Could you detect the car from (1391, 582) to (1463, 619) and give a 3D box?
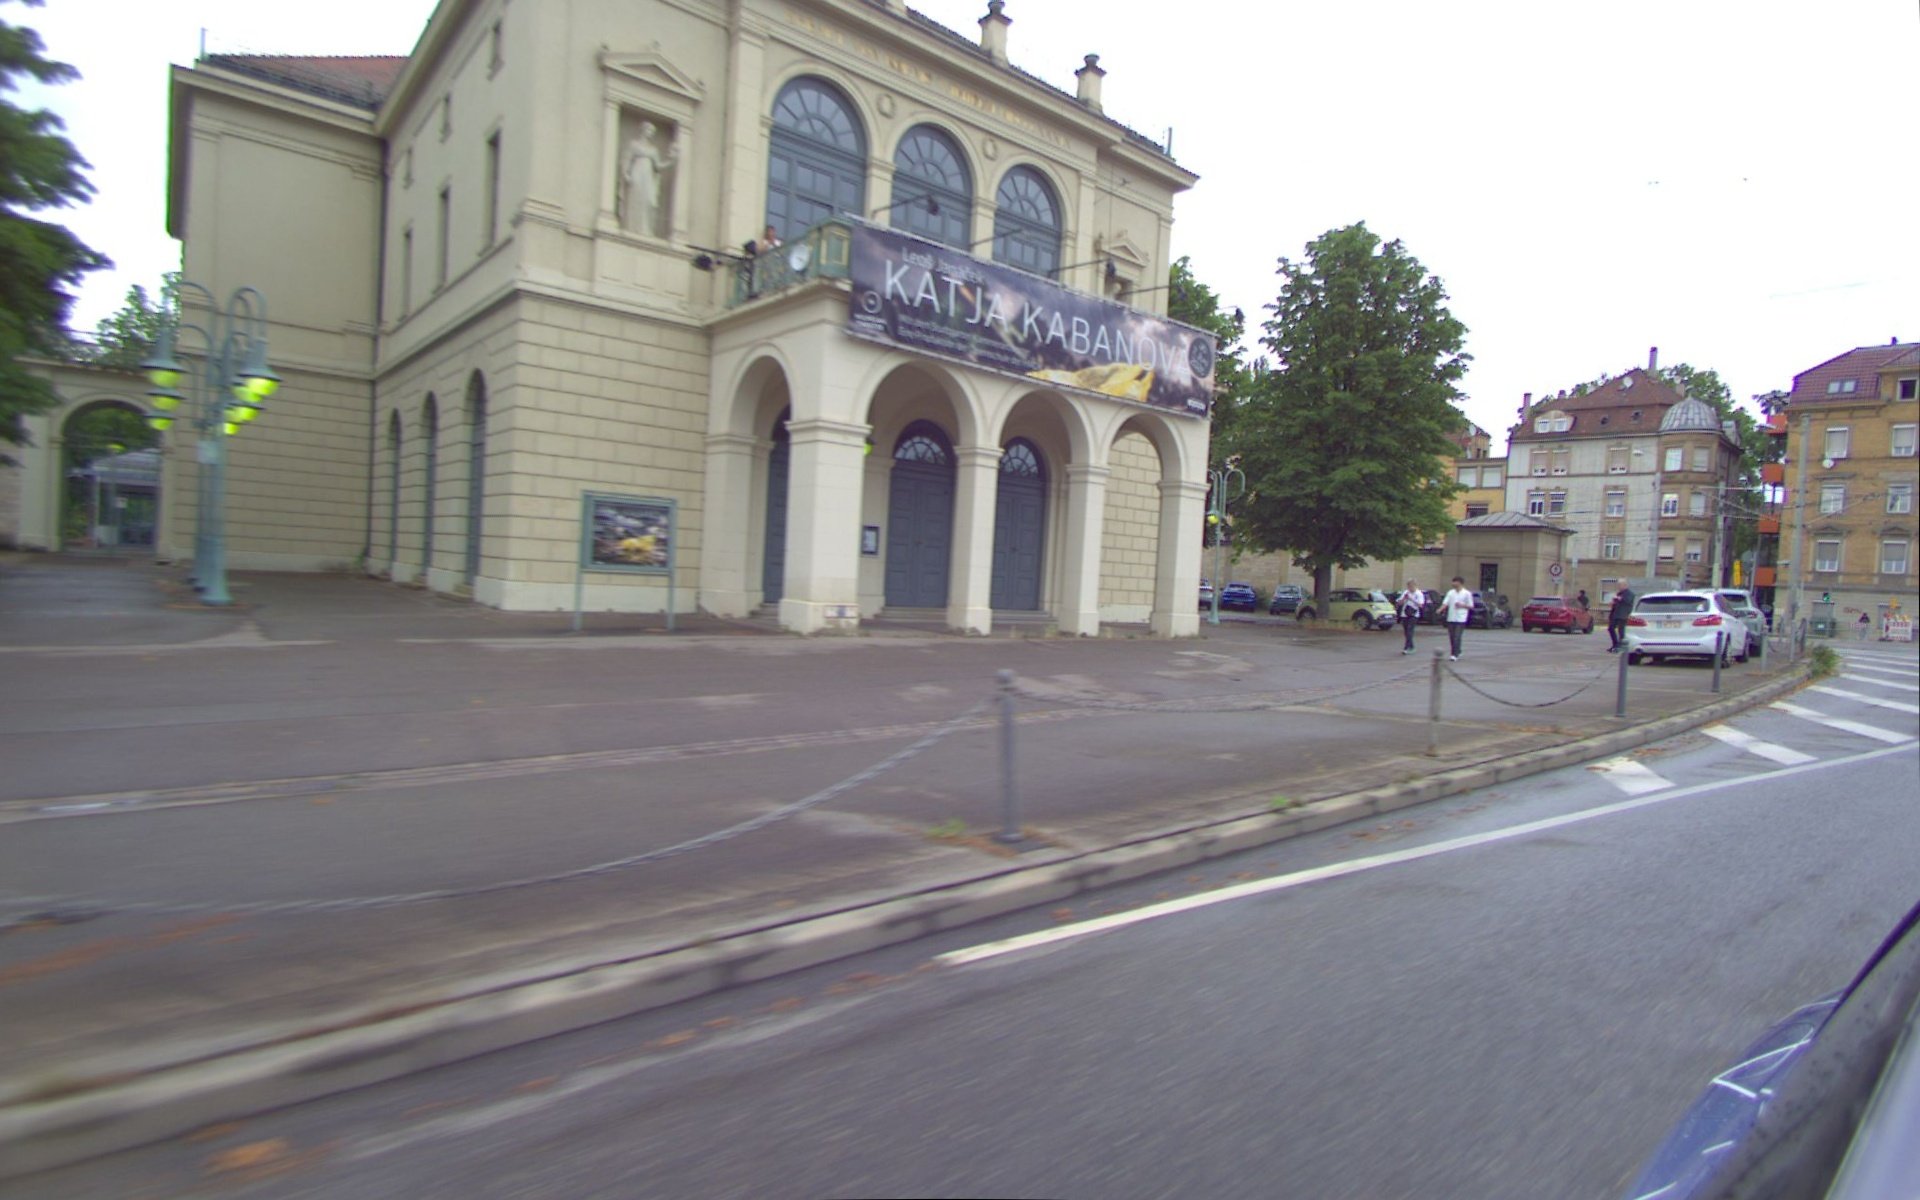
[{"bbox_3d":[21.001,0.017,45.458,1.678,1.515,3.937,5,3,44],"label":"car"}]

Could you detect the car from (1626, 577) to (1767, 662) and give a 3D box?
[{"bbox_3d":[15.981,0.386,21.881,4.075,1.660,1.840,0,0,-44],"label":"car"}]

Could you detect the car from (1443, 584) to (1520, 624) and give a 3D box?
[{"bbox_3d":[22.215,0.154,43.041,1.859,1.567,4.002,3,2,43],"label":"car"}]

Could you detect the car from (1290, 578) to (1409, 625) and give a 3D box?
[{"bbox_3d":[14.403,0.036,37.608,1.697,1.487,3.746,1,3,-37],"label":"car"}]

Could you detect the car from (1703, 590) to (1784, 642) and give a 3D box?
[{"bbox_3d":[23.909,0.454,30.839,1.836,1.482,4.083,0,0,40],"label":"car"}]

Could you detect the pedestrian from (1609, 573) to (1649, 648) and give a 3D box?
[{"bbox_3d":[16.770,0.252,25.364,0.695,1.829,0.770,2,1,41],"label":"pedestrian"}]

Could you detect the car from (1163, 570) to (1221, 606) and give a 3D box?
[{"bbox_3d":[11.697,-0.666,51.235,1.649,1.602,4.006,2,3,-5],"label":"car"}]

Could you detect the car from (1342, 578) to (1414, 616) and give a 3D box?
[{"bbox_3d":[19.677,-0.157,47.523,1.826,1.602,3.938,5,3,42],"label":"car"}]

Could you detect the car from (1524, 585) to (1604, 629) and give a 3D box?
[{"bbox_3d":[24.224,0.258,40.531,1.827,1.602,3.936,5,3,44],"label":"car"}]

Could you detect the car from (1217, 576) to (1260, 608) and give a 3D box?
[{"bbox_3d":[14.177,-0.443,51.705,1.677,1.412,3.990,3,3,10],"label":"car"}]

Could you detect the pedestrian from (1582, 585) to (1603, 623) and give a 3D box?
[{"bbox_3d":[29.696,0.189,47.489,0.697,1.763,0.453,1,2,-29],"label":"pedestrian"}]

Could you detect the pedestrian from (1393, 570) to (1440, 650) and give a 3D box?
[{"bbox_3d":[9.881,0.198,21.906,0.627,1.664,0.768,5,3,43],"label":"pedestrian"}]

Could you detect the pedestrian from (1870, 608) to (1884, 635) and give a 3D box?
[{"bbox_3d":[57.124,1.337,63.055,0.525,1.674,0.511,1,2,-42],"label":"pedestrian"}]

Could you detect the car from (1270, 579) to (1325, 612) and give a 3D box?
[{"bbox_3d":[16.711,-0.236,50.008,1.710,1.459,3.956,4,3,31],"label":"car"}]

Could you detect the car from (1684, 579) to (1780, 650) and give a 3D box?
[{"bbox_3d":[19.824,0.317,25.926,1.714,1.660,4.081,0,0,41],"label":"car"}]

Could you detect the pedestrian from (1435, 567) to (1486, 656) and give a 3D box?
[{"bbox_3d":[10.300,0.225,20.822,0.824,1.757,0.595,1,3,-42],"label":"pedestrian"}]
